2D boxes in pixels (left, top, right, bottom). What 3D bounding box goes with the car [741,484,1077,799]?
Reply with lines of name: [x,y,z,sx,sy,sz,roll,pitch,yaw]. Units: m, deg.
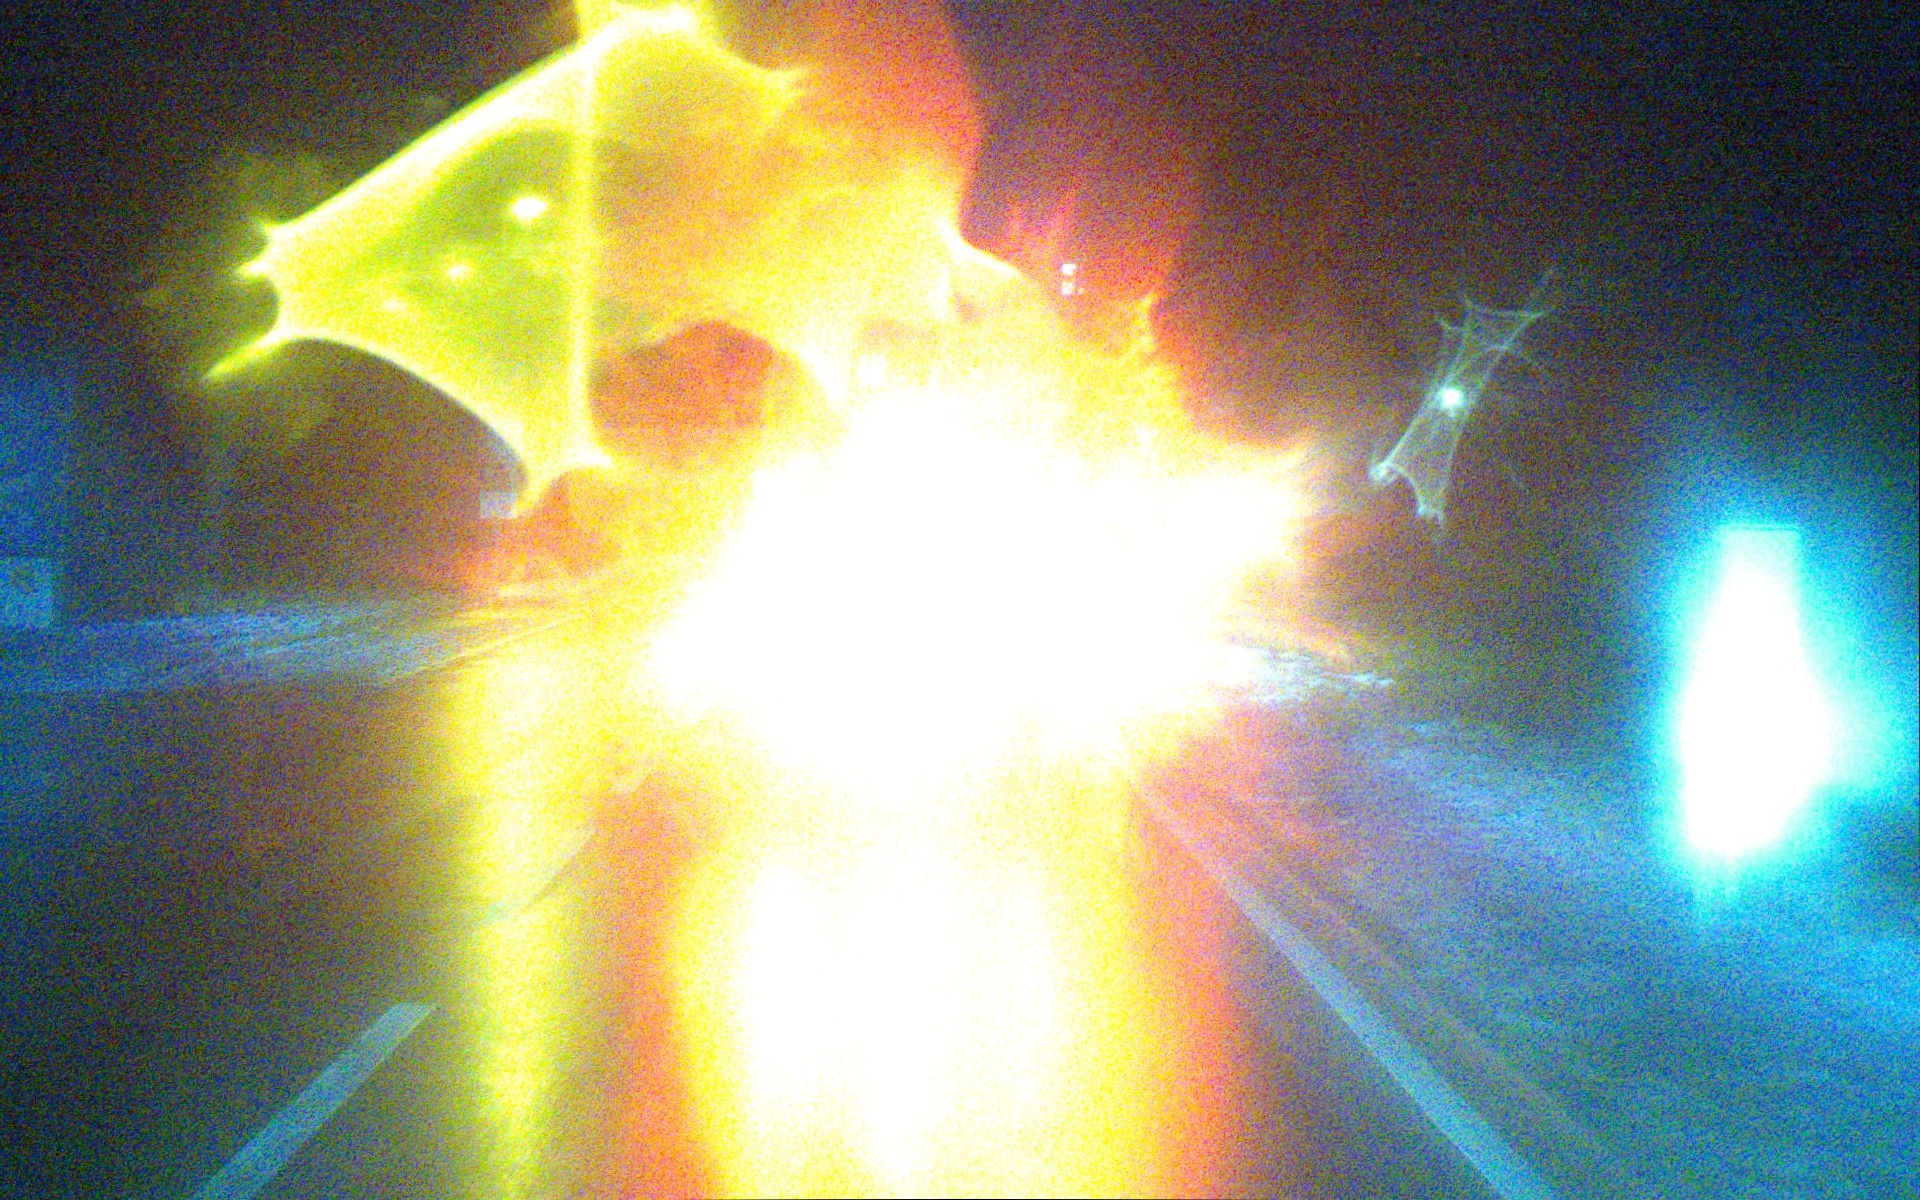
car: [-0.221,0.179,20.402,1.791,1.675,3.904,0,1,2]
